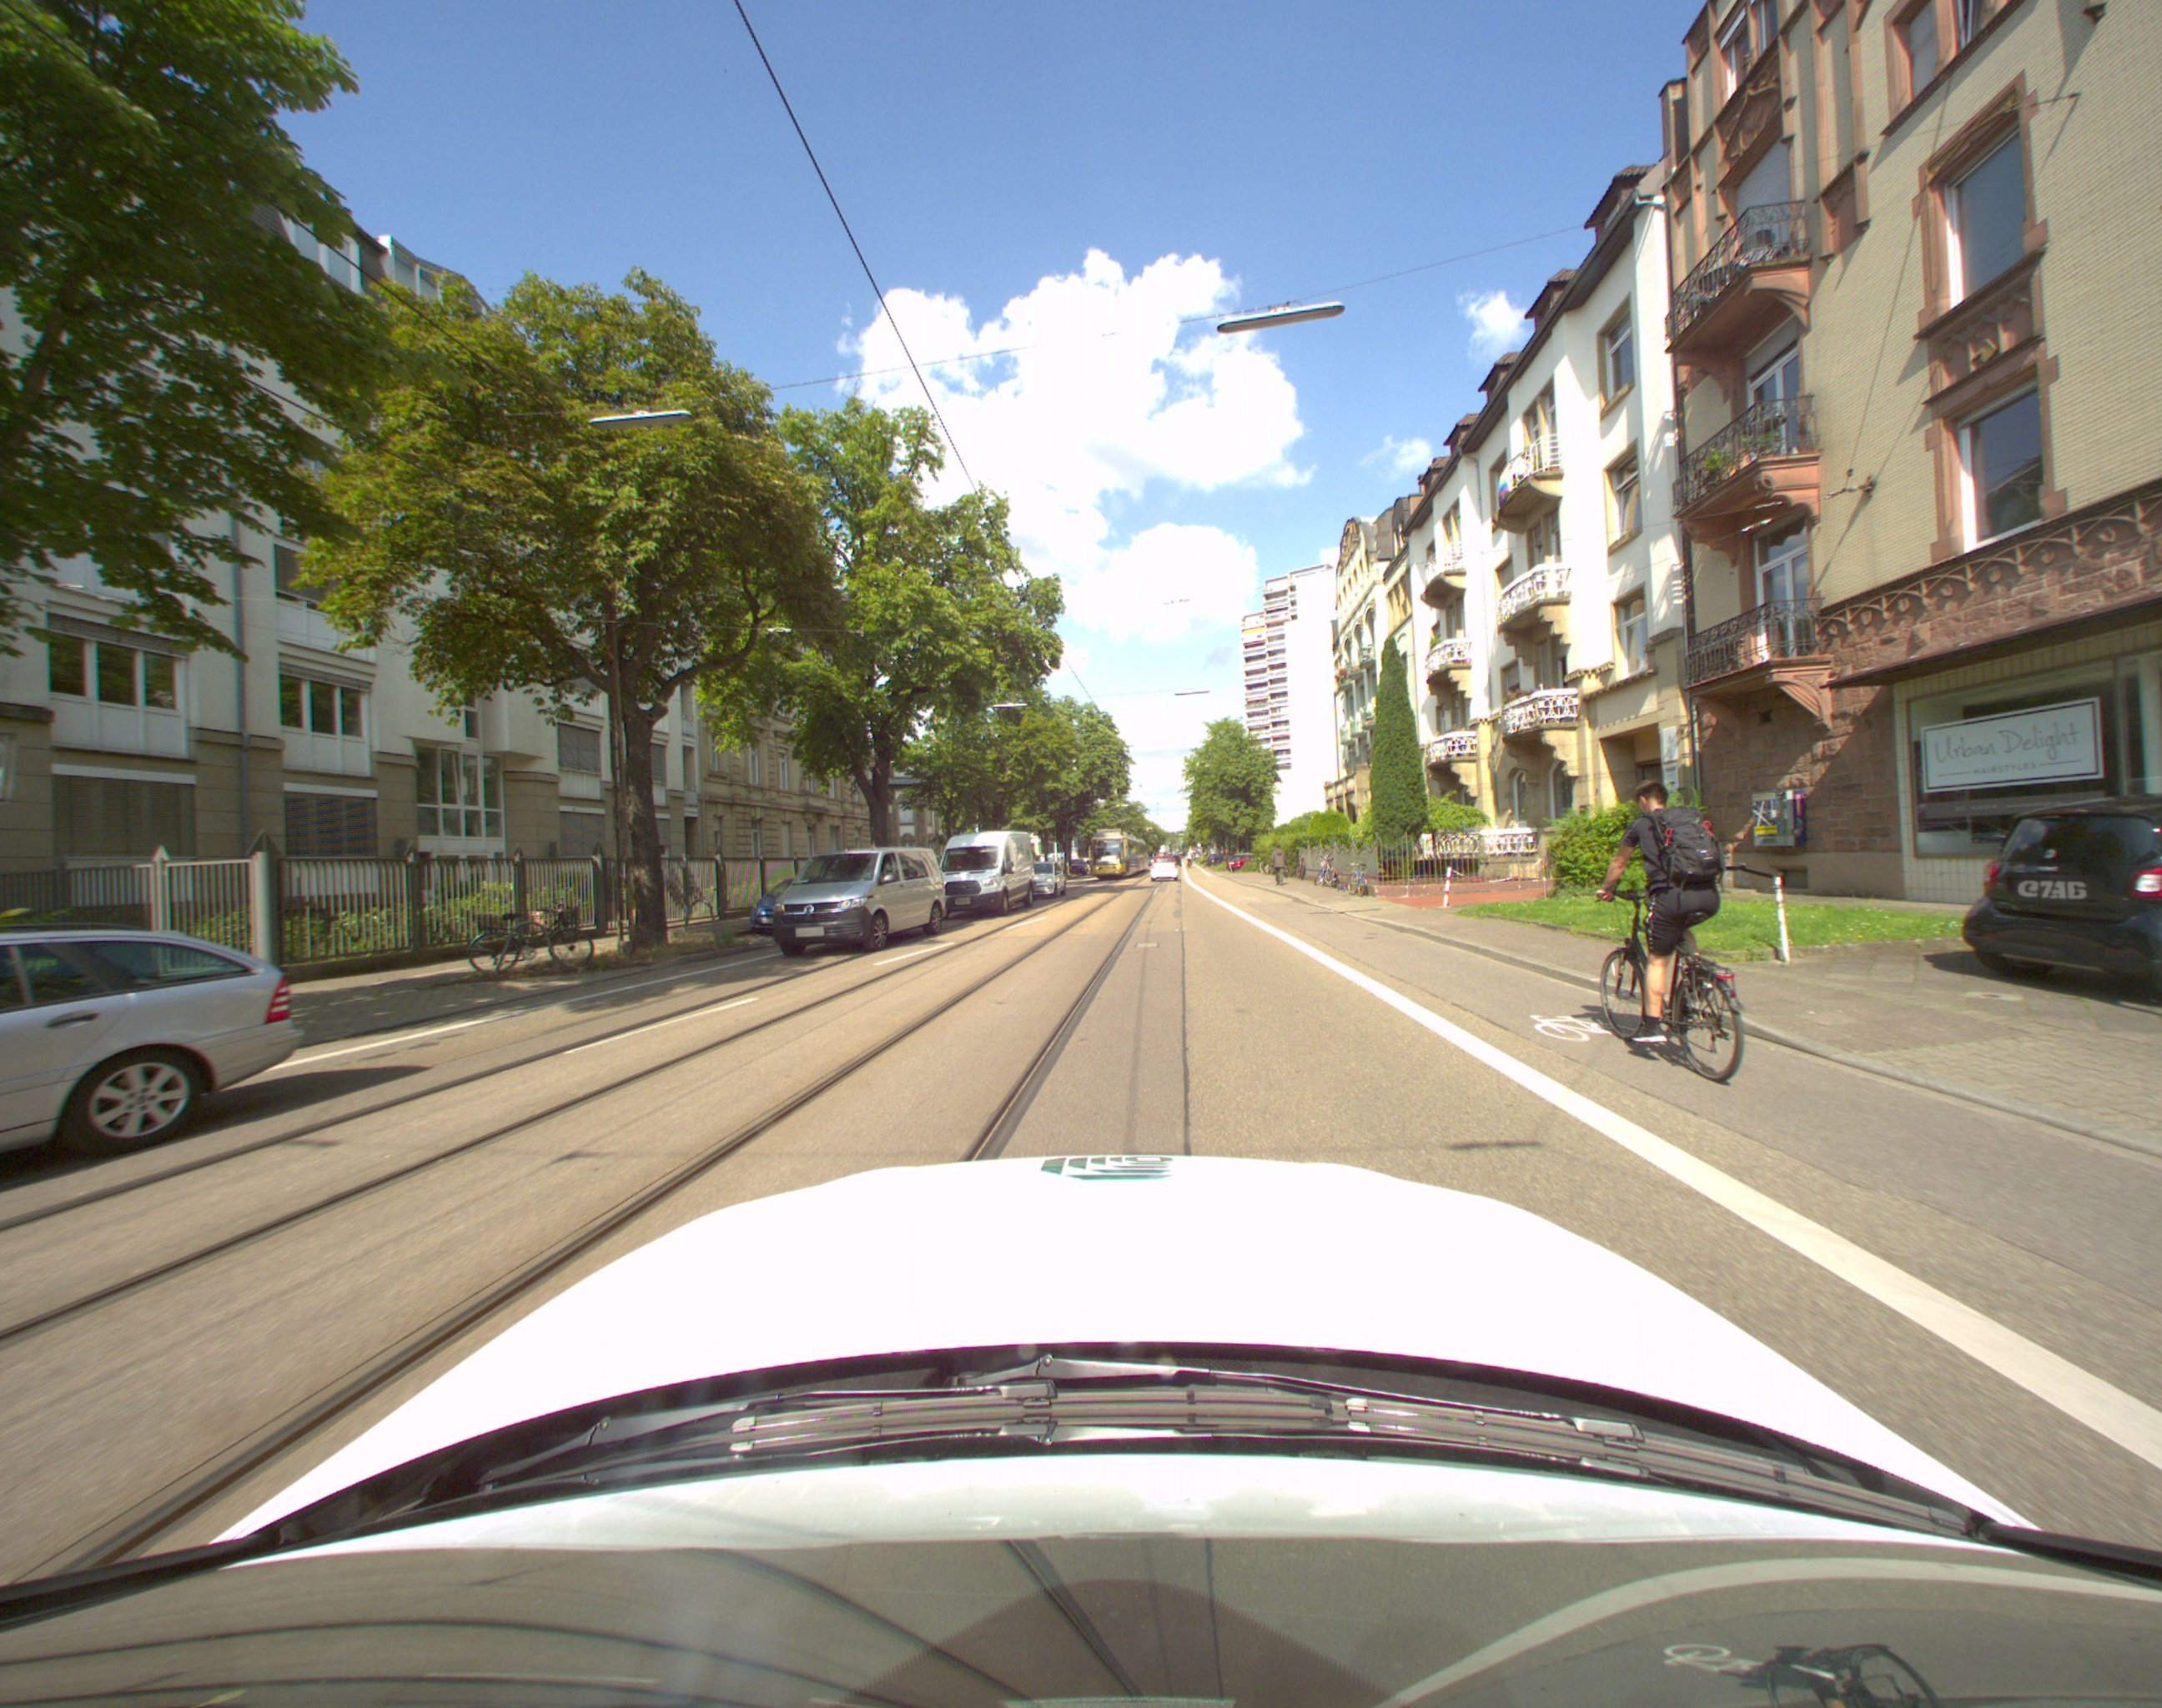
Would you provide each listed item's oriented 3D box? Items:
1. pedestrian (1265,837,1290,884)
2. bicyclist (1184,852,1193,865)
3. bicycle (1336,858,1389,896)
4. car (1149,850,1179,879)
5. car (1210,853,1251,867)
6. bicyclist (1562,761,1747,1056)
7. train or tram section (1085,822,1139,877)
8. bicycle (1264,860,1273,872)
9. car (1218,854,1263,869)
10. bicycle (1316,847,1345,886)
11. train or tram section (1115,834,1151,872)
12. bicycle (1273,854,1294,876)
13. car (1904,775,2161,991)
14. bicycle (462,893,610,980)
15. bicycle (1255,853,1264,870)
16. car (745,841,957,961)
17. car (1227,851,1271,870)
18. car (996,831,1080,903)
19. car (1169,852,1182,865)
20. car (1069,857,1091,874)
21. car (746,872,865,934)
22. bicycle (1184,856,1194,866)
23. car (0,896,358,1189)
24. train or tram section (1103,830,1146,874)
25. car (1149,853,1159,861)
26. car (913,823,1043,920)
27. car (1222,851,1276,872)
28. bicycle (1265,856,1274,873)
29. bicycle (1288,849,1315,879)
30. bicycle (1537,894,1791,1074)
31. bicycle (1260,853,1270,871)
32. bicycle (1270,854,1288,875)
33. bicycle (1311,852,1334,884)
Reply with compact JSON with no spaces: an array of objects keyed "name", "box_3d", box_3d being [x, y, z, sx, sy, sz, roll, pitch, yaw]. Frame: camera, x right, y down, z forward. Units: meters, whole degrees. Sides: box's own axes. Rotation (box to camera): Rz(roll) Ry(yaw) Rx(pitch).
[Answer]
[{"name":"pedestrian","box_3d":[7.941,0.259,32.920,0.785,1.861,0.580,-2,-1,0]},{"name":"bicyclist","box_3d":[12.346,0.493,93.139,0.883,1.529,1.089,-1,-1,13]},{"name":"bicycle","box_3d":[8.252,0.649,24.021,0.596,0.961,3.069,-6,-1,4]},{"name":"car","box_3d":[5.014,0.626,48.777,1.656,1.625,3.628,-1,-1,8]},{"name":"car","box_3d":[16.586,0.674,90.485,4.558,1.442,2.008,0,-1,-39]},{"name":"bicyclist","box_3d":[4.129,0.366,5.961,0.604,1.948,1.132,-1,-1,7]},{"name":"train or tram section","box_3d":[2.504,-0.248,60.322,2.638,3.436,12.339,-5,-1,7]},{"name":"bicycle","box_3d":[11.349,0.718,49.383,0.278,0.677,1.562,-6,-1,7]},{"name":"car","box_3d":[15.206,0.711,77.652,4.196,1.349,1.883,-1,-1,-38]},{"name":"bicycle","box_3d":[8.531,0.424,27.883,0.449,1.261,1.846,-5,0,4]},{"name":"train or tram section","box_3d":[5.575,-0.025,84.679,2.638,3.356,14.136,-5,-1,7]},{"name":"bicycle","box_3d":[9.984,0.548,40.145,0.607,0.996,2.367,-5,-1,6]},{"name":"car","box_3d":[9.409,0.076,6.526,3.381,1.523,1.977,-5,-1,9]},{"name":"bicycle","box_3d":[-9.280,1.372,13.941,2.065,1.309,0.614,-1,-1,-35]},{"name":"bicycle","box_3d":[11.982,0.527,54.788,0.278,1.109,2.014,-6,-1,7]},{"name":"car","box_3d":[-4.374,0.823,16.583,1.974,1.963,5.194,-4,-1,10]},{"name":"car","box_3d":[14.627,0.542,70.947,4.020,1.461,1.518,-2,-1,-39]},{"name":"car","box_3d":[-1.586,0.496,32.865,2.304,2.507,6.373,-3,0,6]},{"name":"car","box_3d":[12.610,0.557,108.305,1.656,1.624,3.627,-3,0,7]},{"name":"car","box_3d":[-0.099,1.186,82.938,1.741,1.665,4.728,-1,-1,6]},{"name":"car","box_3d":[-7.550,1.288,22.741,1.541,1.519,4.092,-1,-1,6]},{"name":"bicycle","box_3d":[12.387,0.826,93.311,0.869,1.126,2.143,-1,-1,13]},{"name":"car","box_3d":[-6.841,1.154,4.191,1.682,1.480,4.495,-4,0,10]},{"name":"train or tram section","box_3d":[3.990,-0.122,72.034,2.638,3.389,11.495,-5,-1,7]},{"name":"car","box_3d":[14.795,0.695,164.388,1.764,1.416,3.859,-6,-1,6]},{"name":"car","box_3d":[-2.929,0.443,25.026,2.303,2.507,6.377,-3,0,7]},{"name":"car","box_3d":[13.332,0.565,64.475,4.179,1.423,1.846,-3,-1,-36]},{"name":"bicycle","box_3d":[11.141,0.613,48.152,0.272,0.907,1.672,-6,1,7]},{"name":"bicycle","box_3d":[9.898,0.449,36.659,0.736,1.231,2.520,-3,-1,6]},{"name":"bicycle","box_3d":[4.164,0.863,6.026,0.612,1.045,1.839,-6,-3,7]},{"name":"bicycle","box_3d":[11.565,0.493,51.288,0.278,1.109,2.014,-6,-1,7]},{"name":"bicycle","box_3d":[10.347,0.543,42.524,0.609,0.989,1.875,-5,-1,6]},{"name":"bicycle","box_3d":[8.952,0.492,30.218,0.448,1.122,1.848,-5,0,8]}]
